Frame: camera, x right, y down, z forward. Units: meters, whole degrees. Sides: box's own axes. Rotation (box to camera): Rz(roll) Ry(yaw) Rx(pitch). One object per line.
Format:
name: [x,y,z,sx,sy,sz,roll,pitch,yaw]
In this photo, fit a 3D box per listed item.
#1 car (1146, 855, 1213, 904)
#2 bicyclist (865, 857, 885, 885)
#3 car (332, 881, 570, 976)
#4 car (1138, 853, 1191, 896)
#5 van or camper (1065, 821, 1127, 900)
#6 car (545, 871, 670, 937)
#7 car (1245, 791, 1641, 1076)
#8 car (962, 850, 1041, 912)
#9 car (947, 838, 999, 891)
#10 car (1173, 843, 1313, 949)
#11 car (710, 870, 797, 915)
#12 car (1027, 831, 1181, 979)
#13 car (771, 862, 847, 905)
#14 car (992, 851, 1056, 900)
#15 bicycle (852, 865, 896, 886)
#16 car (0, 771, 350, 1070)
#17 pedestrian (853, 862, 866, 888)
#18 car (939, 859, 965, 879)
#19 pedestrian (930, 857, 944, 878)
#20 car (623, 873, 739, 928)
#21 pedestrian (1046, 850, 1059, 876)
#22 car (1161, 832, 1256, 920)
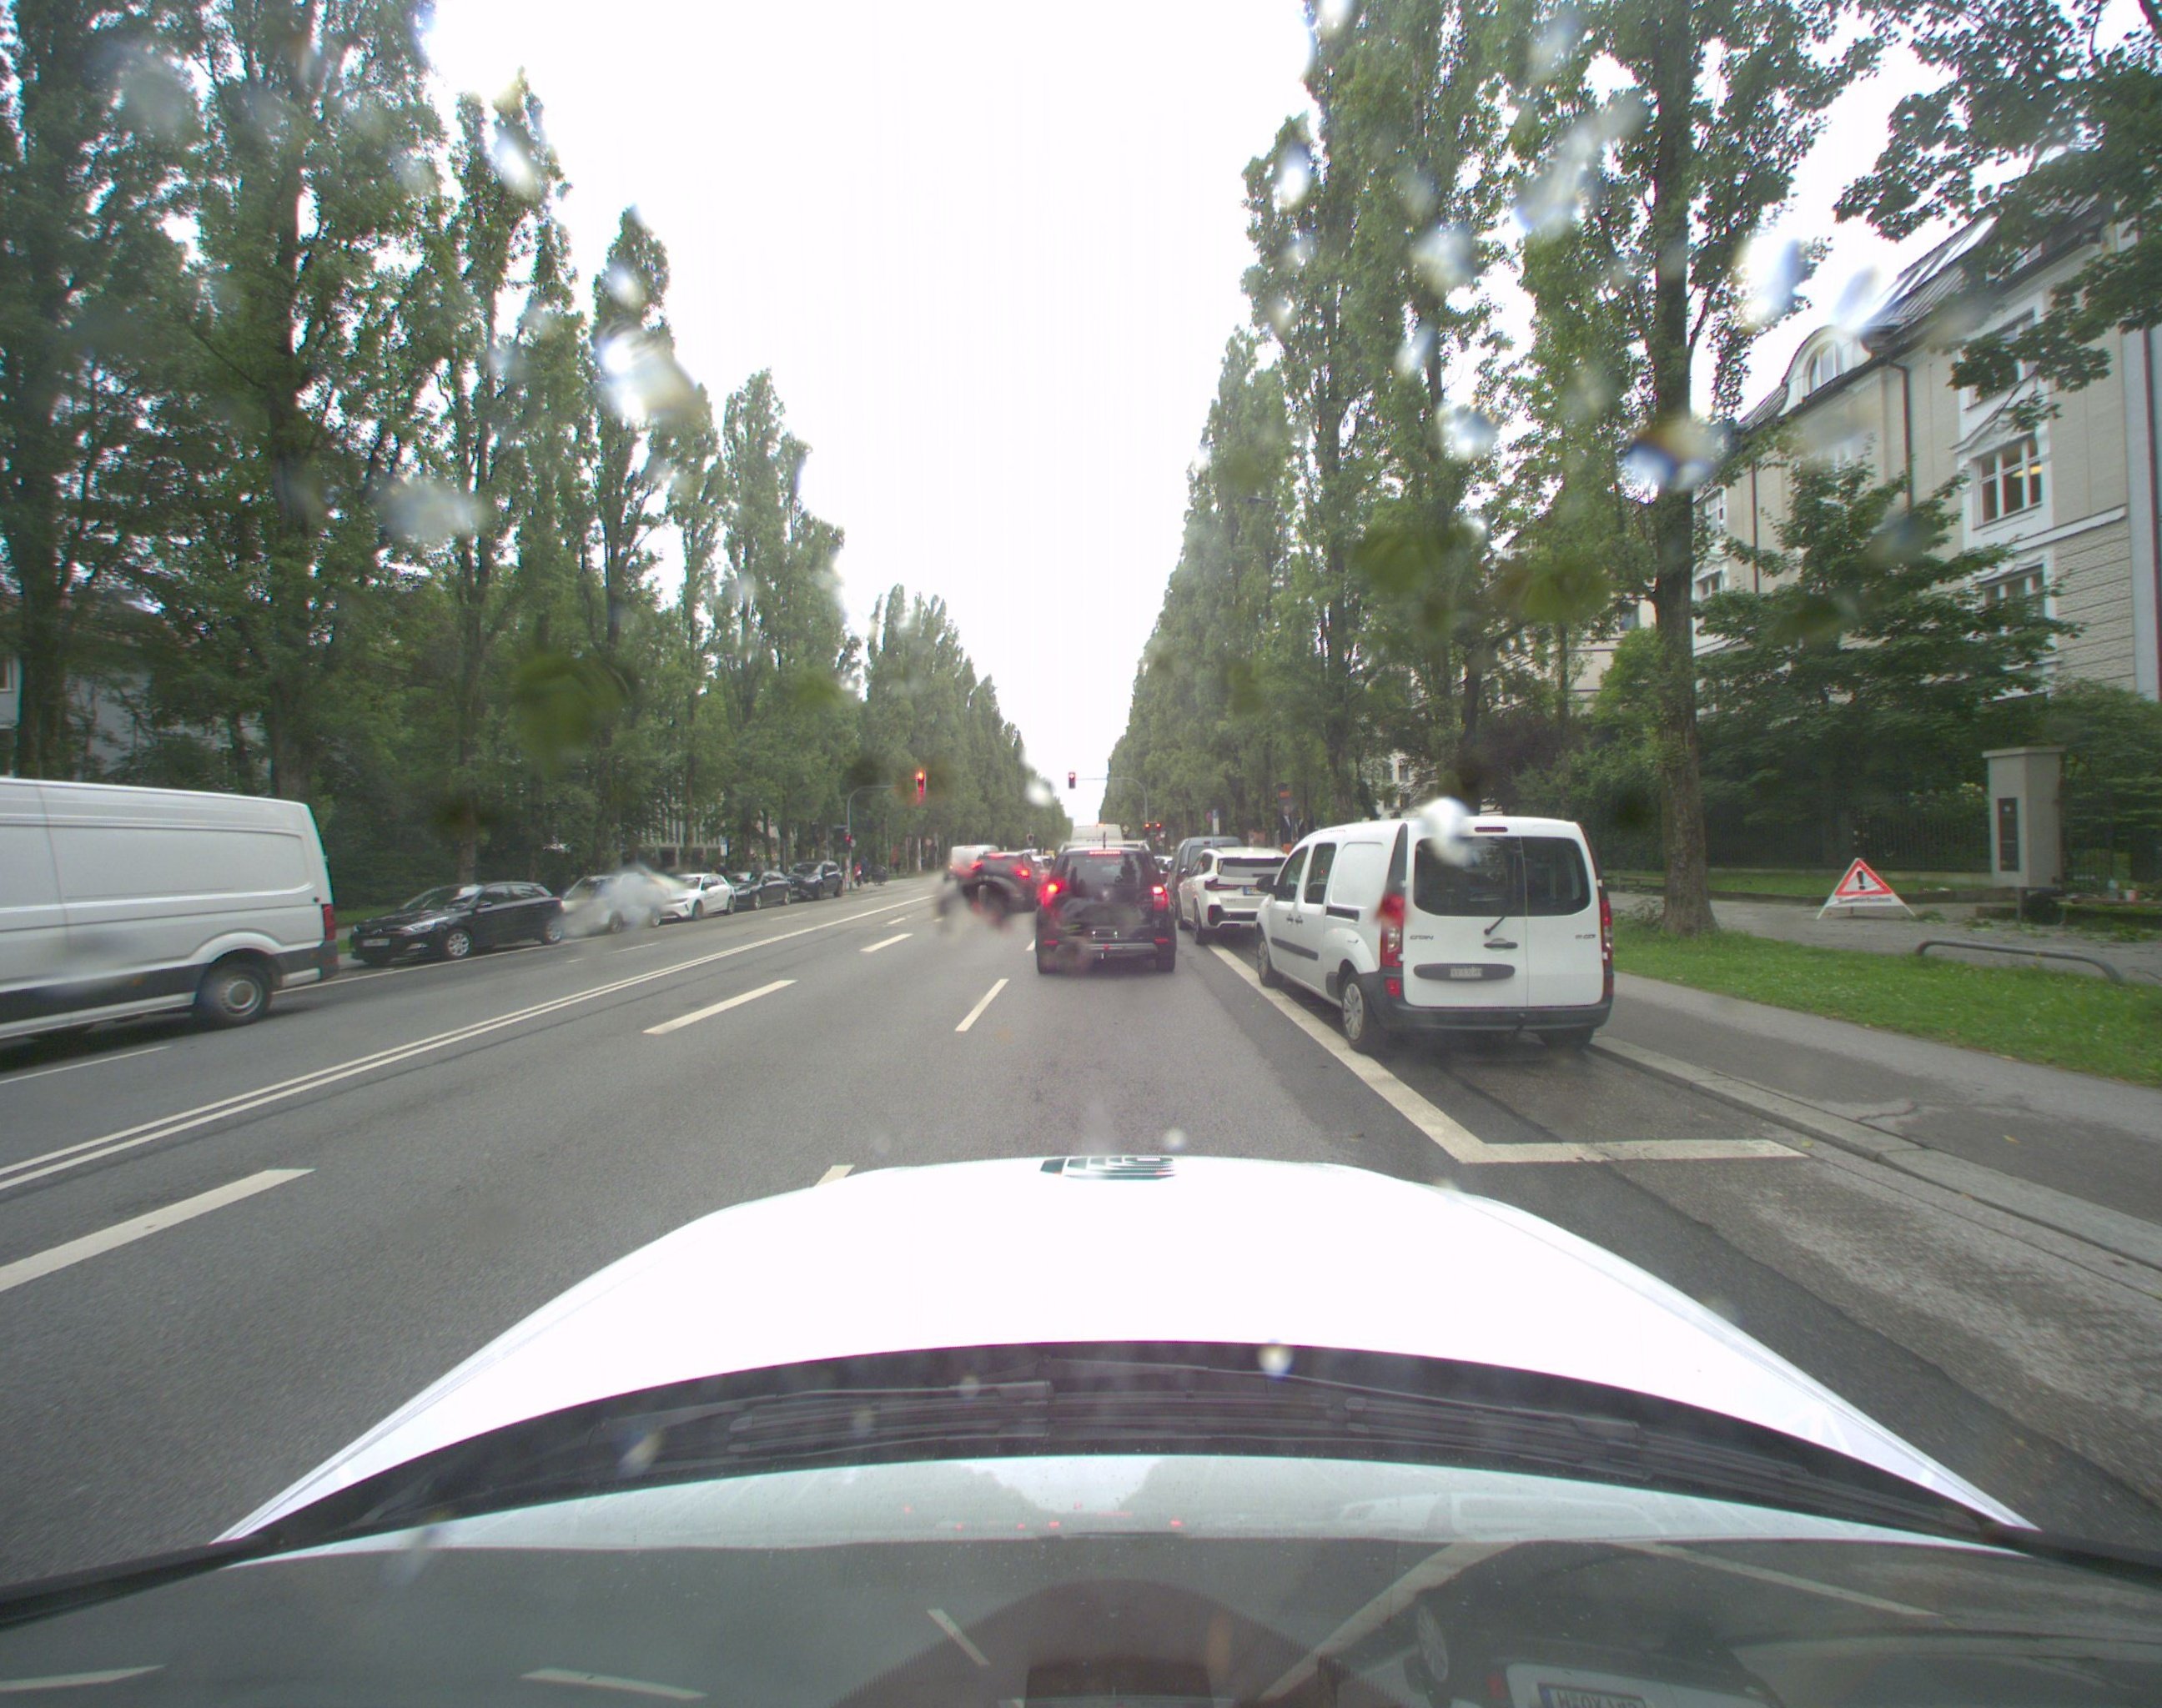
car: [3.083,0.760,26.118,1.729,1.387,3.563,-2,0,1]
bicyclist: [-12.933,1.074,51.123,0.900,1.722,0.827,-2,0,10]
car: [-12.416,1.390,16.410,1.594,1.425,3.854,-4,0,2]
car: [3.163,0.737,31.420,1.729,1.475,3.563,-2,0,1]
van or camper: [0.477,0.198,28.800,1.969,2.548,4.023,-2,0,-1]
car: [-12.361,1.262,21.441,1.423,1.447,2.966,-5,0,0]
car: [2.894,0.532,7.649,1.845,1.881,4.168,-2,0,0]
car: [-2.180,0.700,23.283,1.775,1.620,4.025,0,0,1]
car: [-4.619,0.440,35.323,1.777,2.111,4.021,-2,0,-2]
car: [2.756,0.640,14.770,1.735,1.593,4.212,-2,0,1]
car: [-12.371,1.399,31.010,1.619,1.389,4.164,-4,0,-1]
car: [0.318,0.609,11.776,1.849,1.770,4.001,0,0,1]
car: [-12.223,1.277,36.959,1.844,1.654,4.693,-4,0,-1]
car: [-2.011,0.725,29.895,1.987,1.560,4.000,-2,0,0]
bicycle: [-13.012,1.343,51.130,2.519,1.237,0.815,-2,0,10]
car: [-10.097,0.616,6.566,2.221,2.483,6.755,-4,0,-1]
pedestrian: [-12.751,1.199,46.915,0.515,1.485,0.537,-2,0,1]
car: [-12.023,1.400,76.286,1.682,1.783,3.775,-2,0,1]
pedestrian: [-12.039,1.121,67.987,0.875,1.764,0.880,-2,0,10]
car: [-12.361,1.374,25.484,1.619,1.389,4.163,-4,0,-2]
pedestrian: [-2.291,0.720,65.264,0.881,2.013,1.014,-2,0,4]
car: [3.018,0.484,20.043,1.729,1.895,4.025,-2,0,1]
